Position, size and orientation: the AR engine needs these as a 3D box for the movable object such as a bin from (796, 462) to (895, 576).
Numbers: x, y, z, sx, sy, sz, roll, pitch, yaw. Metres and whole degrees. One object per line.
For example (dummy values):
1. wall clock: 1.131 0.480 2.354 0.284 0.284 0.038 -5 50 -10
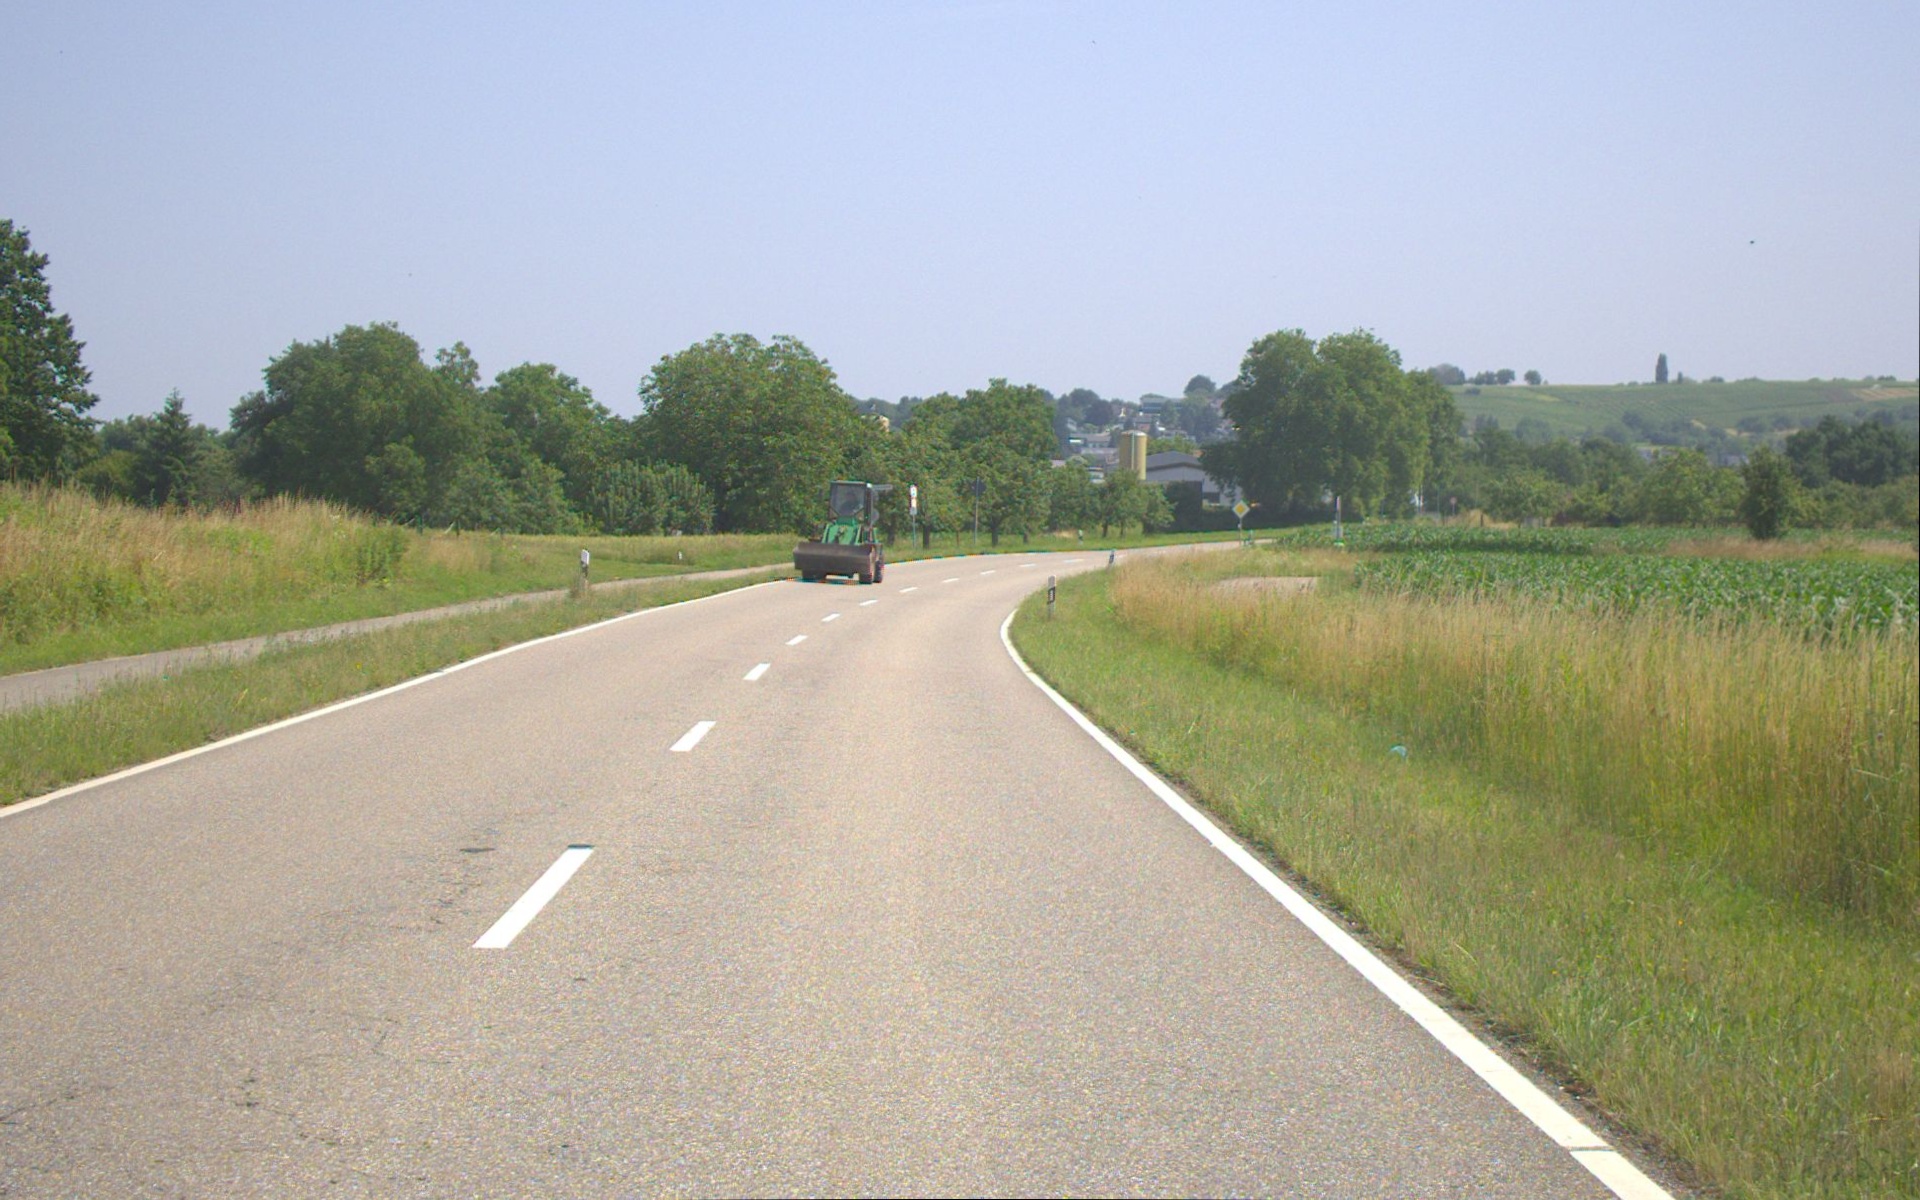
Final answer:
1. movable object such as a bin: -2.926 -2.097 89.151 2.001 2.745 5.230 3 2 3
